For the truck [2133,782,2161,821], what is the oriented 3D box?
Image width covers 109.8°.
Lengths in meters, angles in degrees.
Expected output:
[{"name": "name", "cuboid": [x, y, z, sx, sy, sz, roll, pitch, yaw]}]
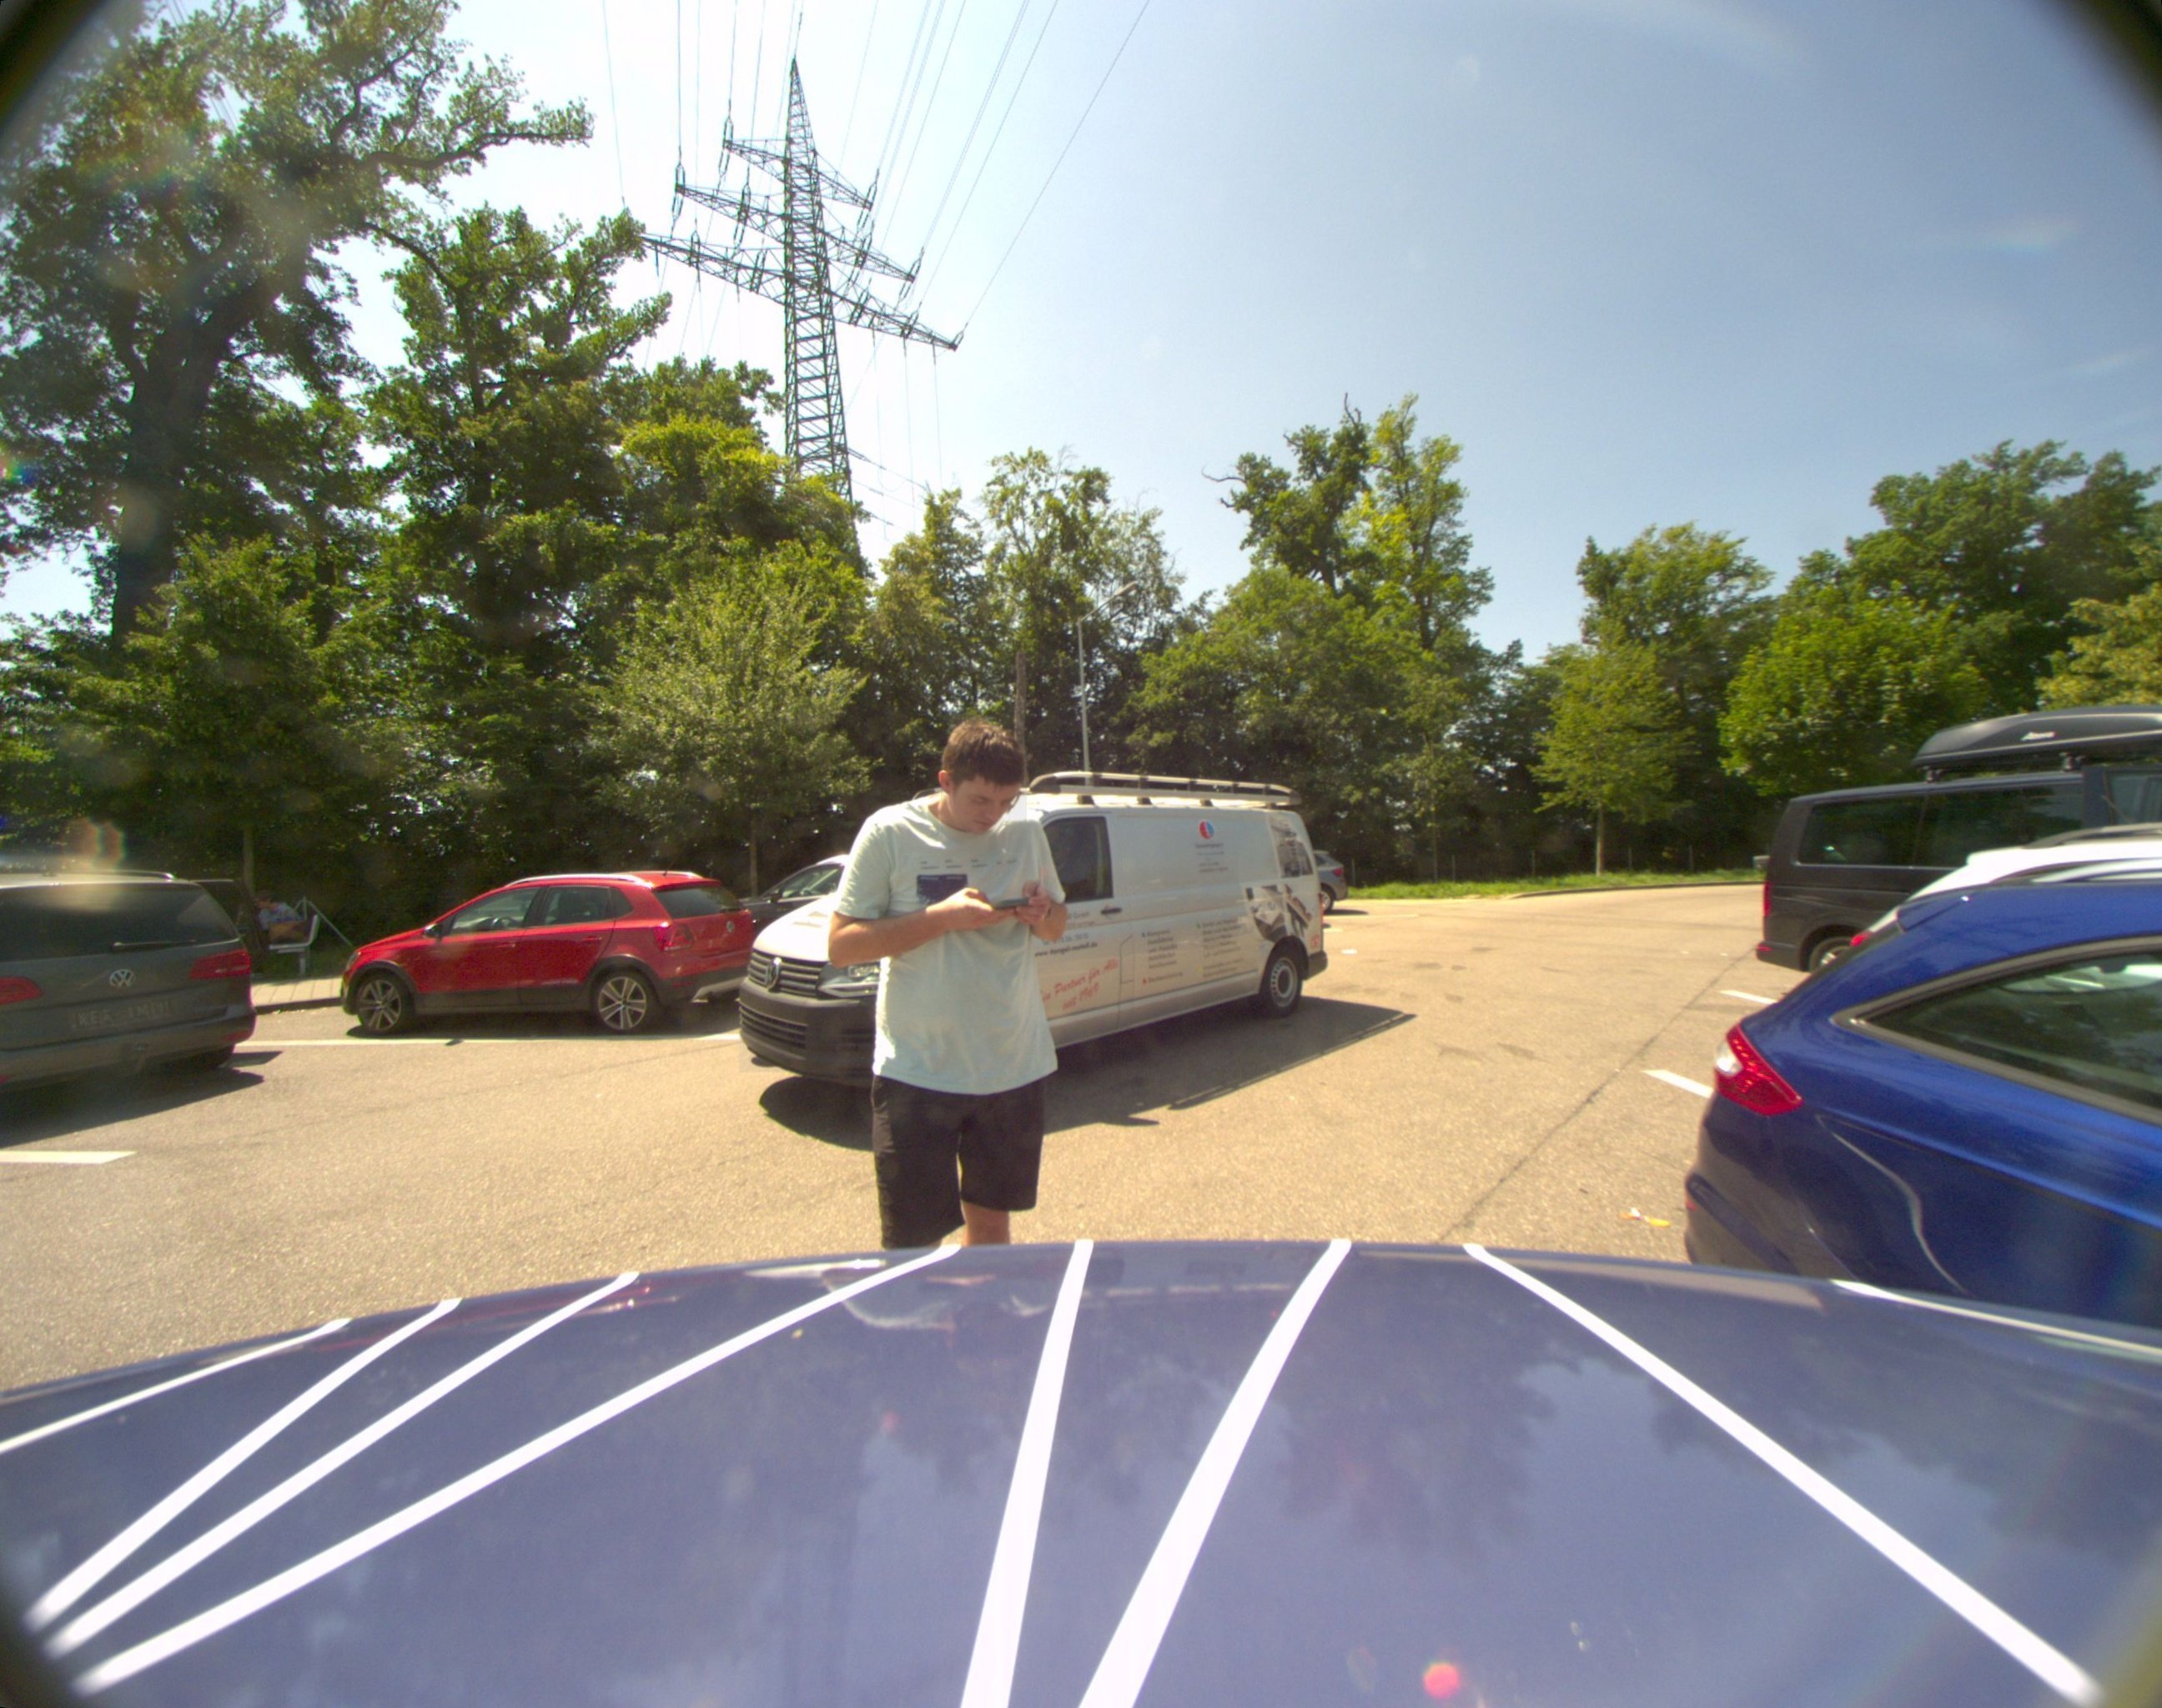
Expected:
[{"name": "truck", "cuboid": [40.190, -1.978, 27.106, 1.168, 1.367, 2.882, -2, -1, -19]}]

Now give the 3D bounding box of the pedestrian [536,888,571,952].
[{"name": "pedestrian", "cuboid": [-10.098, 1.254, 14.541, 0.366, 1.186, 0.356, -2, 1, 21]}]

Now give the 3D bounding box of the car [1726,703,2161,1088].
[{"name": "car", "cuboid": [7.293, 0.236, 5.326, 1.788, 2.304, 4.084, -2, 0, -5]}]

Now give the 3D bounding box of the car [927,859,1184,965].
[{"name": "car", "cuboid": [-0.324, 0.872, 12.123, 3.773, 1.445, 1.848, -2, 0, 4]}]

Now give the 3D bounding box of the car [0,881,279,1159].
[{"name": "car", "cuboid": [-8.346, 1.094, 5.422, 3.903, 1.607, 1.705, -2, 1, 11]}]

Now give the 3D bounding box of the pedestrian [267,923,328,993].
[{"name": "pedestrian", "cuboid": [-10.834, 1.426, 10.520, 0.503, 0.874, 0.512, -2, 0, -39]}]

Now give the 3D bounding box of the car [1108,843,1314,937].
[{"name": "car", "cuboid": [2.552, 0.703, 15.468, 3.850, 1.678, 1.755, -2, 0, 4]}]

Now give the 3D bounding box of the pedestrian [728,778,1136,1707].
[{"name": "pedestrian", "cuboid": [-0.377, 0.768, 1.861, 0.741, 1.818, 0.613, -2, 0, -34]}]

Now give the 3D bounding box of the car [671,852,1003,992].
[{"name": "car", "cuboid": [-3.116, 0.856, 10.272, 3.866, 1.607, 1.709, -2, 0, 0]}]

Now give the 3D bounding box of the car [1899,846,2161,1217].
[{"name": "car", "cuboid": [4.666, 0.649, 2.147, 1.344, 1.352, 3.114, -2, 0, 1]}]

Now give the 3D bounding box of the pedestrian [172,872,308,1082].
[{"name": "pedestrian", "cuboid": [-7.314, 1.033, 6.623, 0.481, 1.712, 0.589, -2, 1, 22]}]

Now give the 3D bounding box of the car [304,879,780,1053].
[{"name": "car", "cuboid": [-5.243, 1.062, 7.654, 3.745, 1.458, 1.621, -2, 0, 7]}]

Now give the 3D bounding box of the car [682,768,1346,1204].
[{"name": "car", "cuboid": [0.015, 0.598, 6.209, 5.445, 2.092, 1.839, -2, 1, -45]}]

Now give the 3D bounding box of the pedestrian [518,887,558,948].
[{"name": "pedestrian", "cuboid": [-10.955, 1.279, 15.348, 0.413, 1.186, 0.443, -2, 1, 12]}]

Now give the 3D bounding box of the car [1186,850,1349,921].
[{"name": "car", "cuboid": [4.343, 0.722, 18.143, 3.585, 1.493, 1.707, -2, 1, 8]}]
